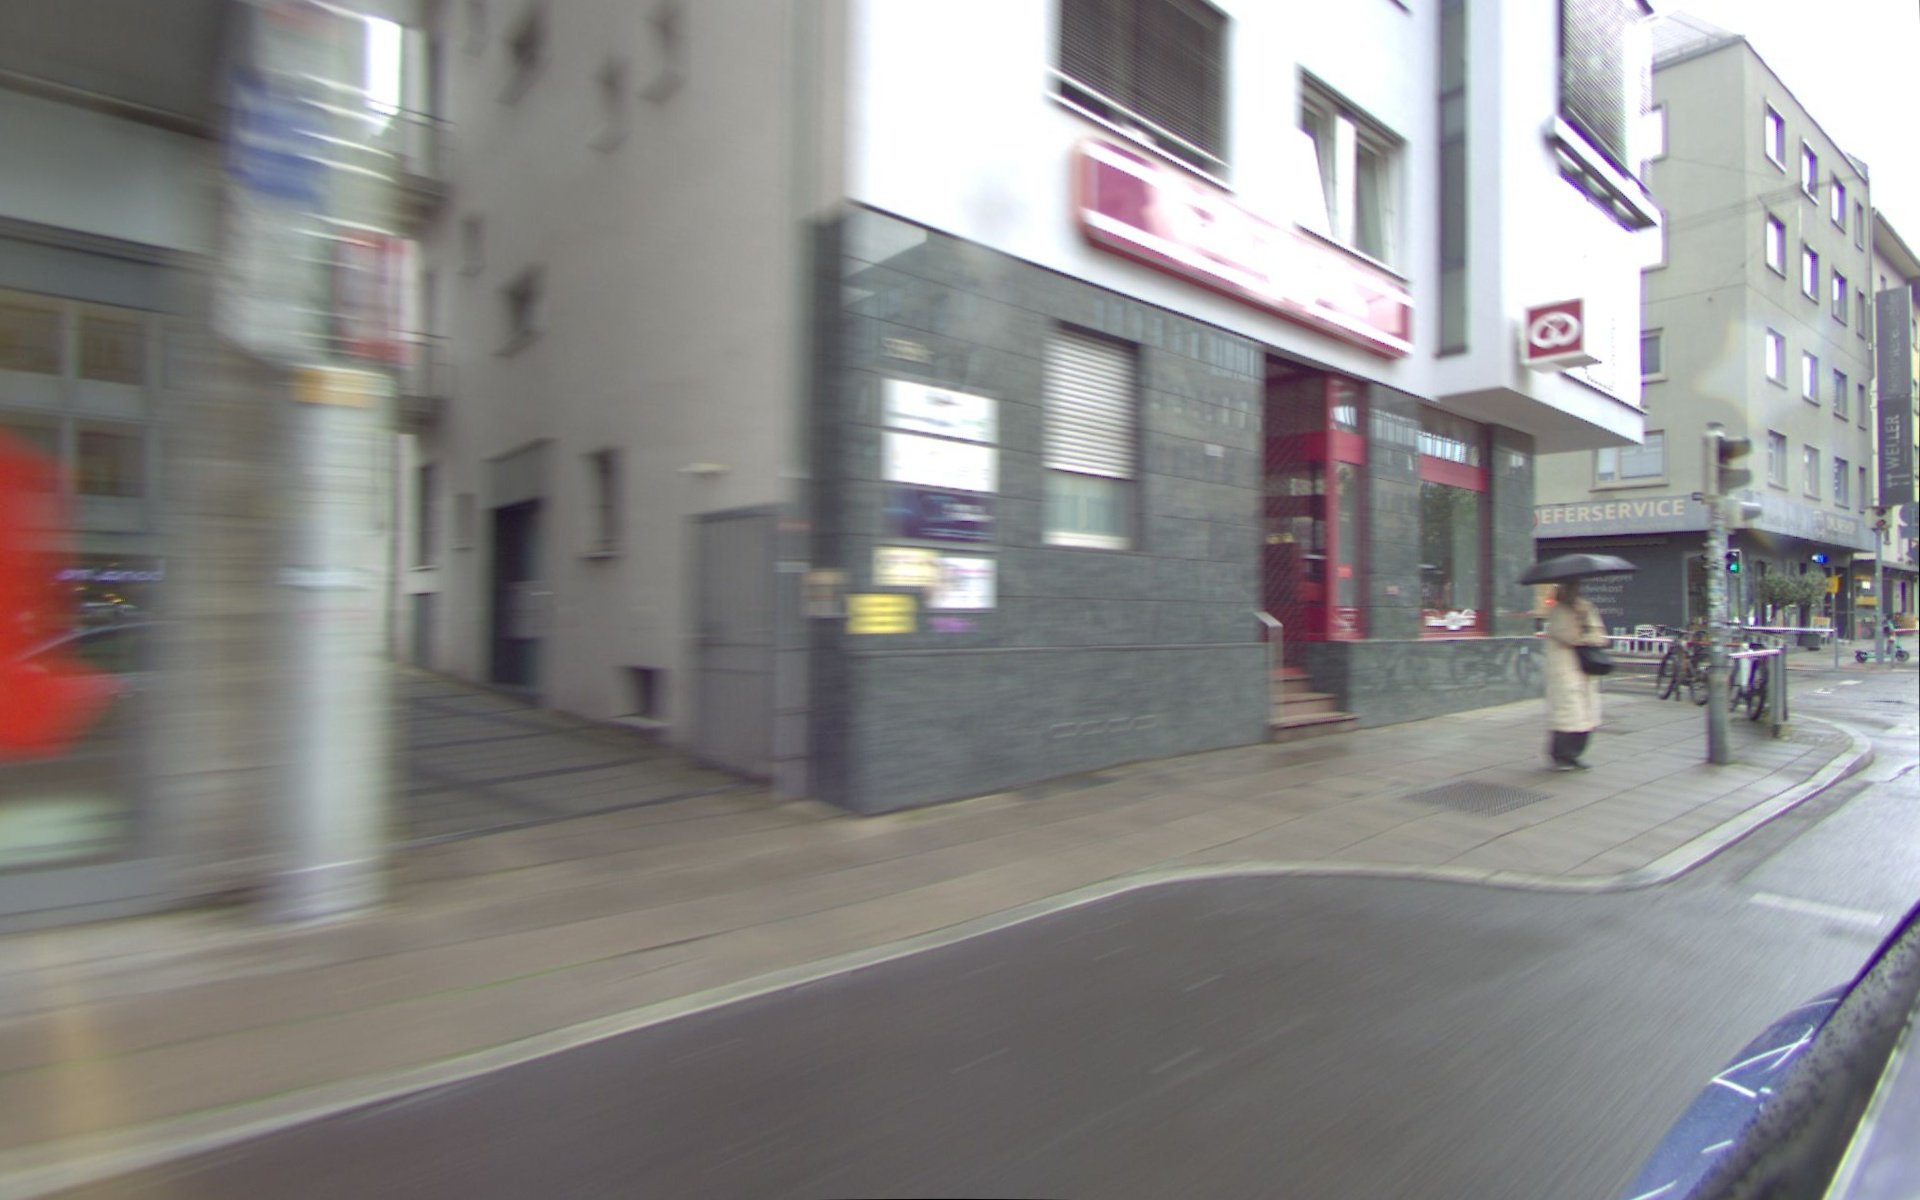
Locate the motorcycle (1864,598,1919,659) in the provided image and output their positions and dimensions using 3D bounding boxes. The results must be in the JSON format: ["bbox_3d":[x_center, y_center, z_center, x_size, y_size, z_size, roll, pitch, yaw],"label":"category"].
[{"bbox_3d":[23.402,0.700,25.215,1.115,1.480,0.681,0,0,14],"label":"motorcycle"}]

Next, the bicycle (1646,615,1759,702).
[{"bbox_3d":[10.760,0.811,14.736,0.569,1.172,1.948,-1,-1,13],"label":"bicycle"}]

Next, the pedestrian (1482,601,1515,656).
[{"bbox_3d":[16.293,0.851,30.616,0.845,1.630,0.549,-2,1,-37],"label":"pedestrian"}]

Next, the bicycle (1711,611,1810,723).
[{"bbox_3d":[9.989,0.784,12.683,0.493,1.275,1.940,-1,-1,24],"label":"bicycle"}]

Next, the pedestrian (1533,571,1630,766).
[{"bbox_3d":[5.383,0.561,8.802,0.655,1.602,0.772,0,0,28],"label":"pedestrian"}]
